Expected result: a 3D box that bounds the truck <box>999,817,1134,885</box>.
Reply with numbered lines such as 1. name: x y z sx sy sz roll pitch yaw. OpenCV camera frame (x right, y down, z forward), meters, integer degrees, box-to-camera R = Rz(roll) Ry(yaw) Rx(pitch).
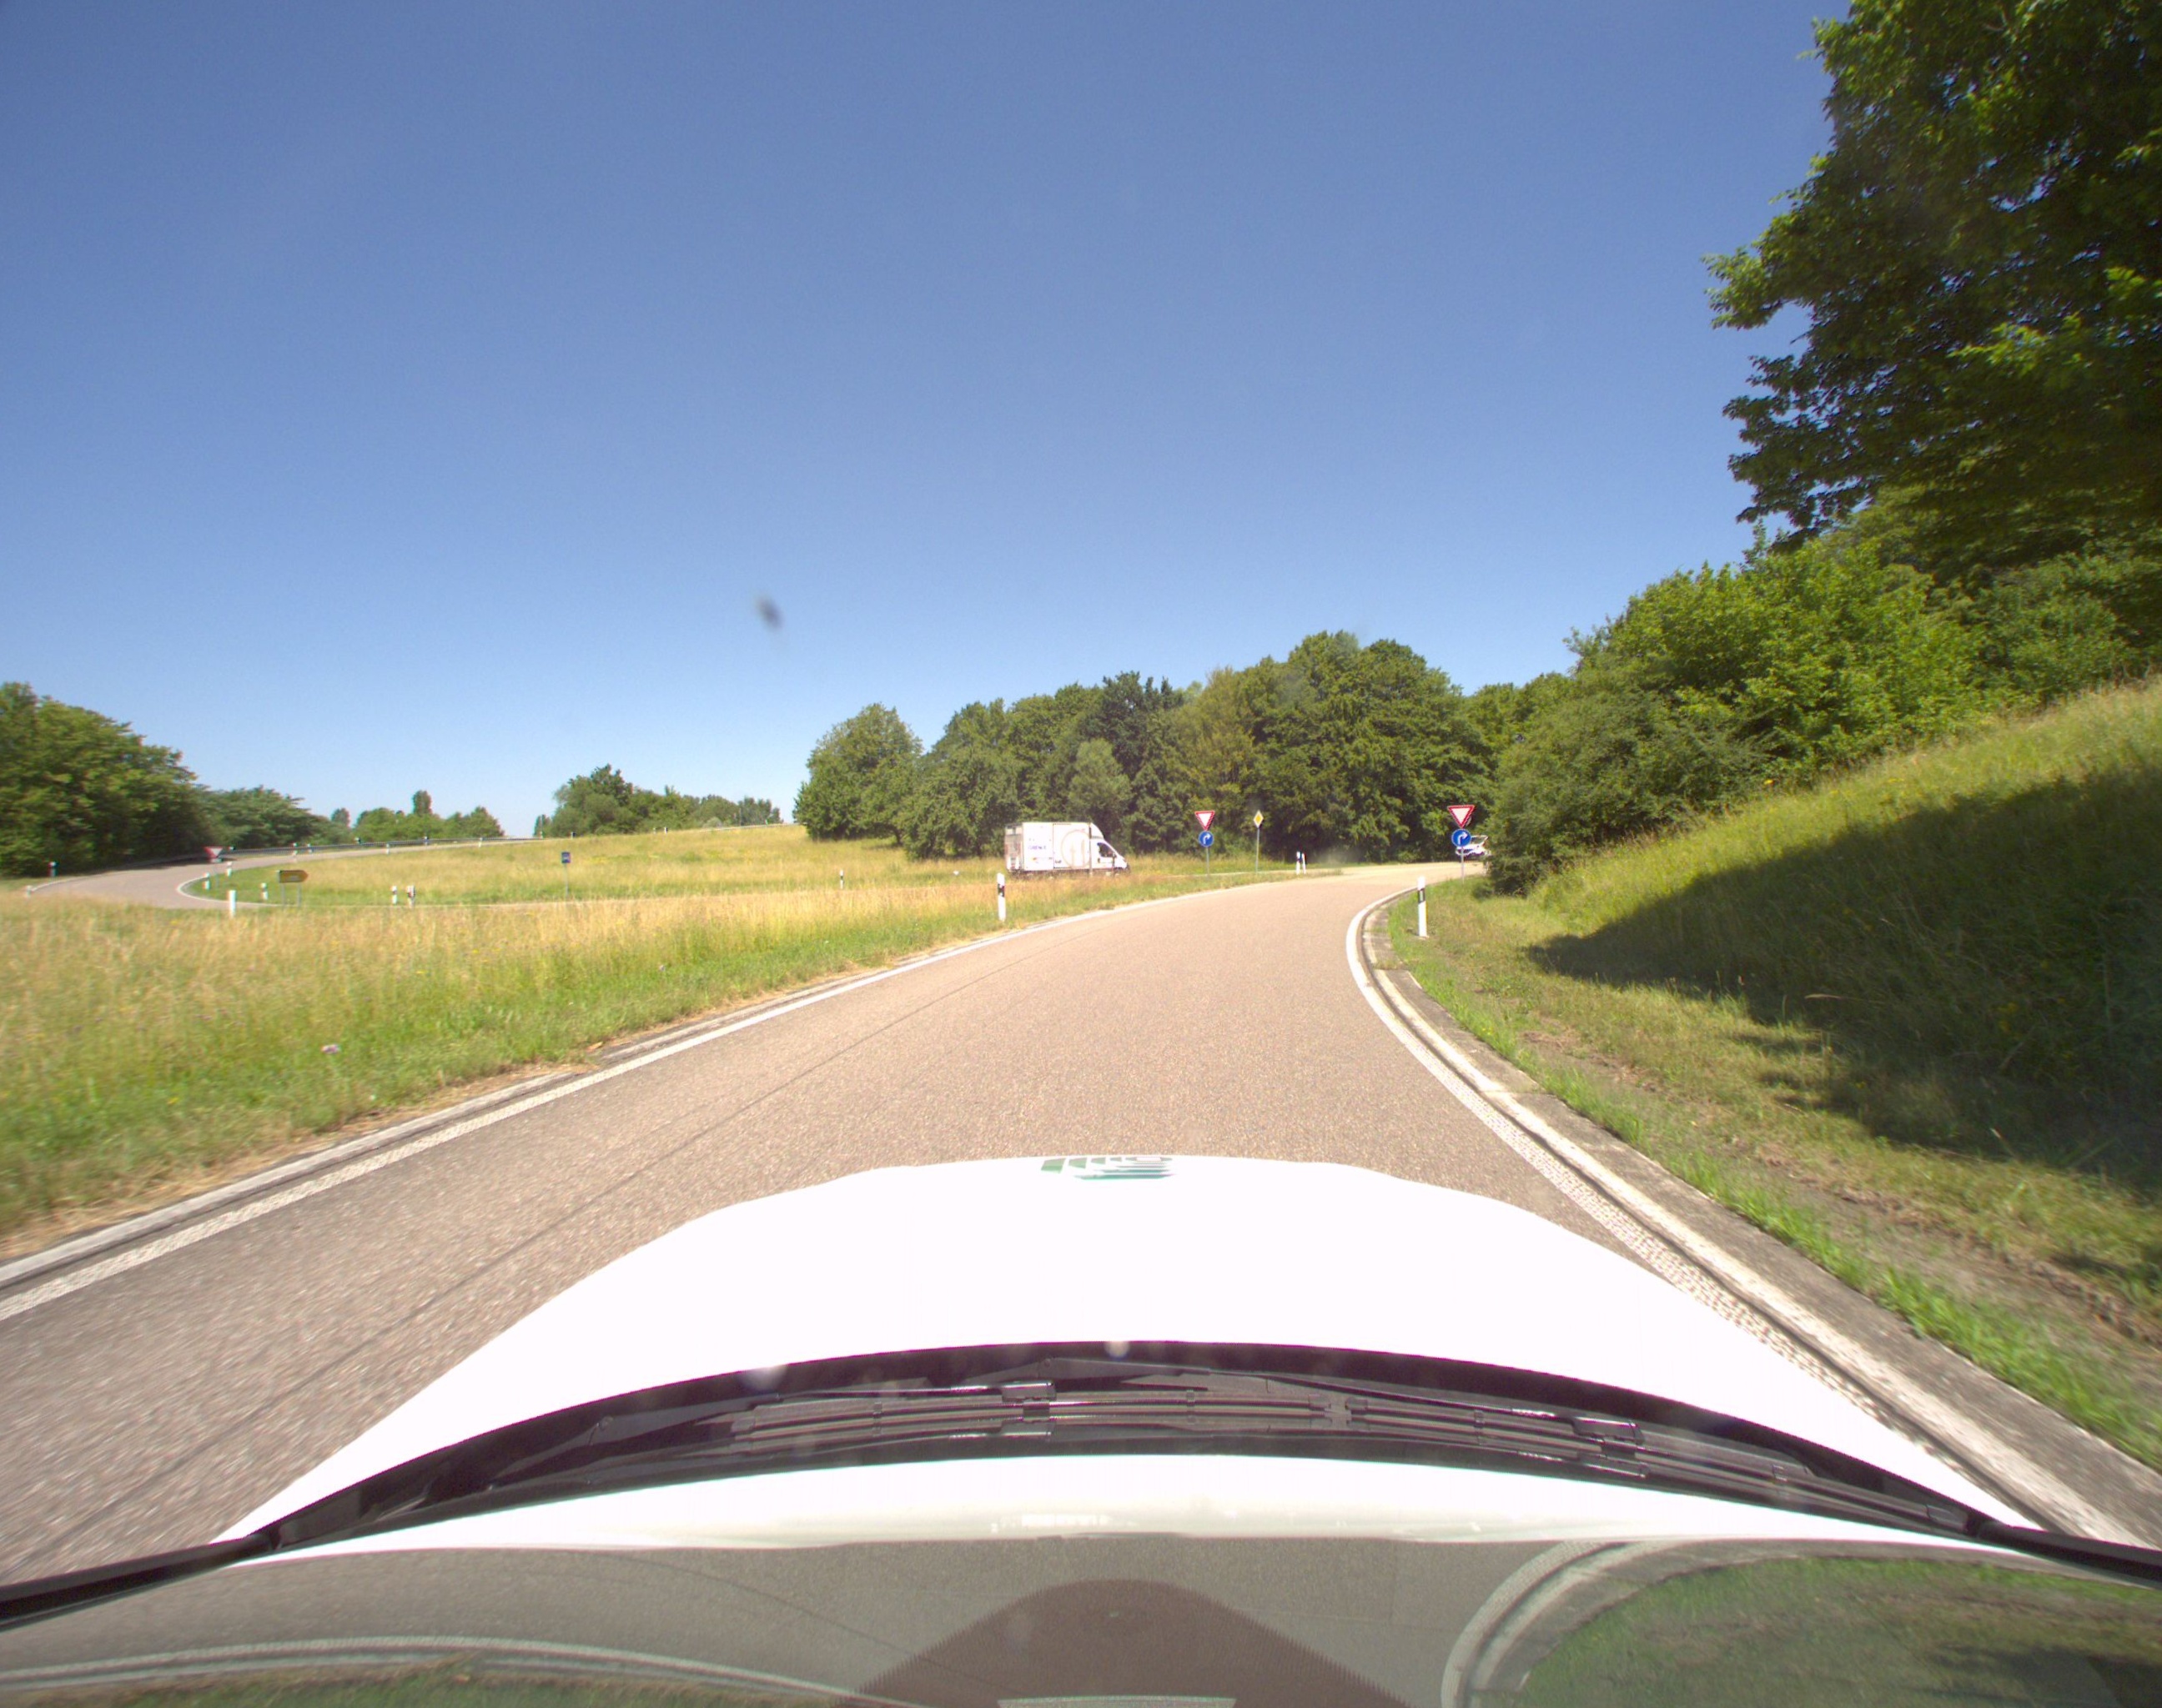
1. truck: -0.651 -0.183 38.311 5.910 2.985 2.227 -2 0 -29
